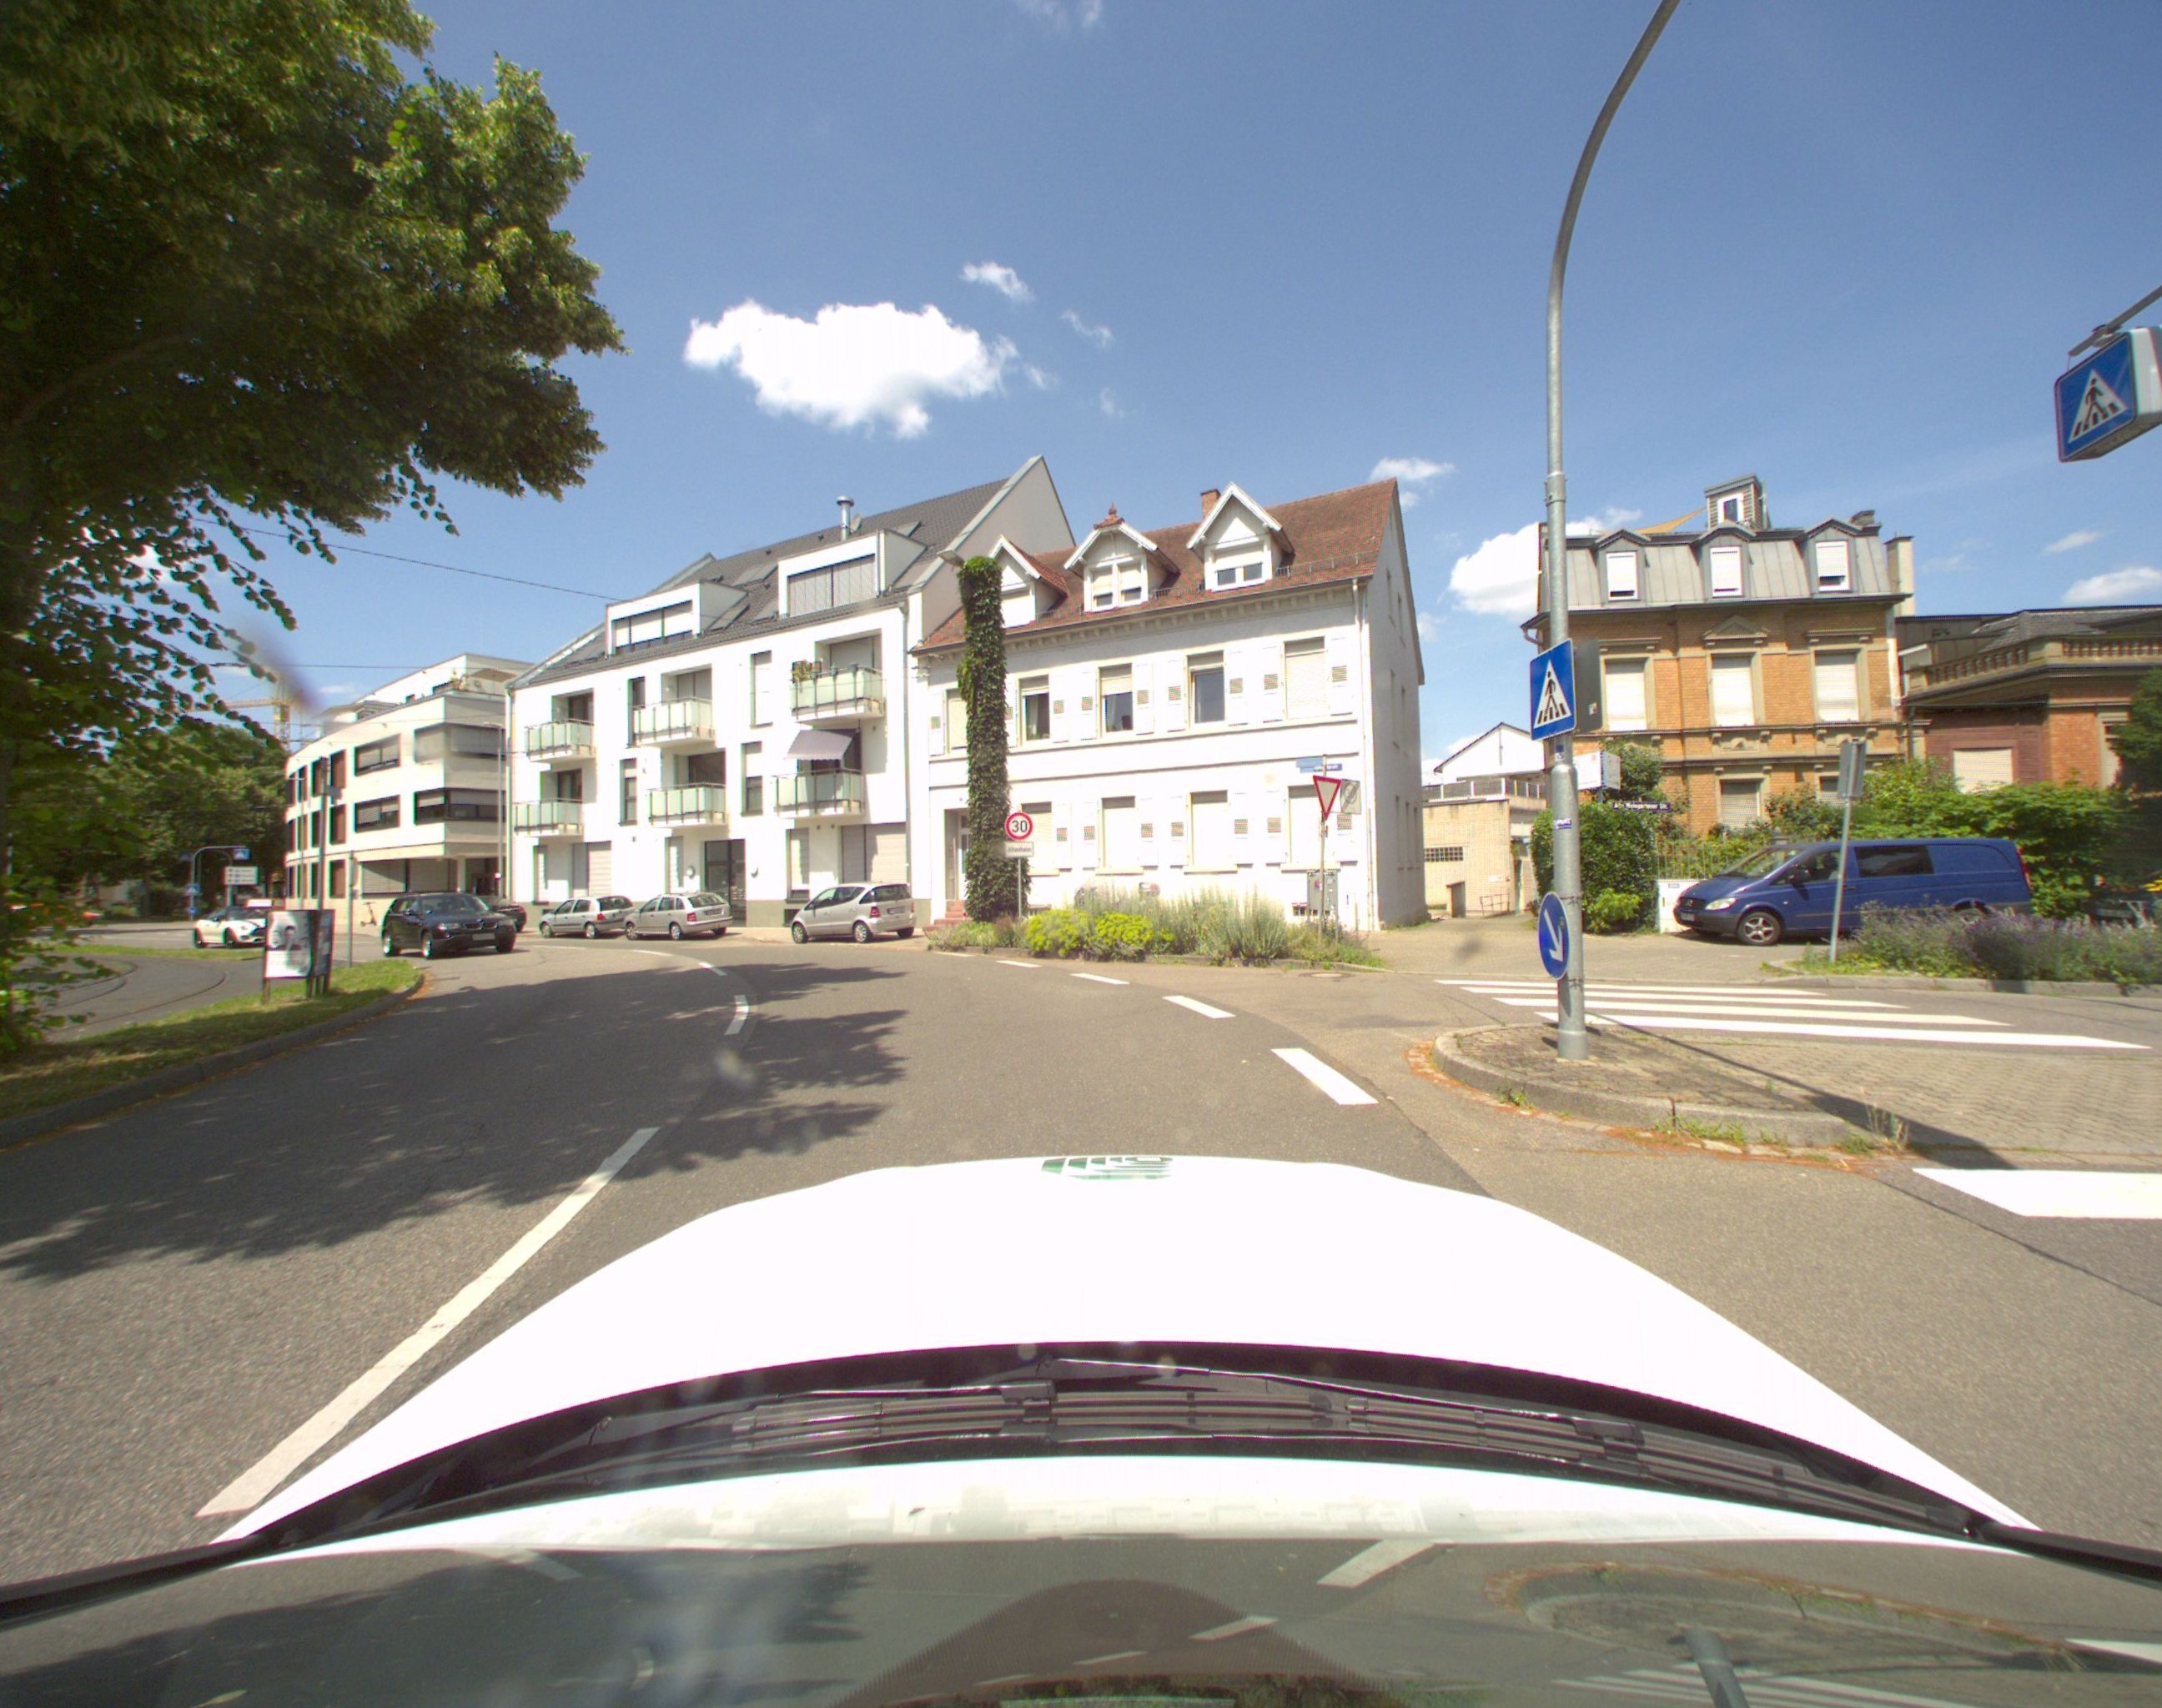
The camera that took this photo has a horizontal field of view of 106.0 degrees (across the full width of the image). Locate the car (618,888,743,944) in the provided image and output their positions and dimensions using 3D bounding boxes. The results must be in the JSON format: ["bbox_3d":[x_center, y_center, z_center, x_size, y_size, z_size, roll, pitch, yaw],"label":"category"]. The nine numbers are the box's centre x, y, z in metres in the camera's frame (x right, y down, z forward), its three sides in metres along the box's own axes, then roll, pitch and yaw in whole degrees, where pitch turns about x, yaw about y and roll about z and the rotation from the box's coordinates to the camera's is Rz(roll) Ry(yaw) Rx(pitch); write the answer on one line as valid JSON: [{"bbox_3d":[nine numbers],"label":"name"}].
[{"bbox_3d":[-12.768,1.912,25.909,3.858,1.465,1.672,-1,3,31],"label":"car"}]

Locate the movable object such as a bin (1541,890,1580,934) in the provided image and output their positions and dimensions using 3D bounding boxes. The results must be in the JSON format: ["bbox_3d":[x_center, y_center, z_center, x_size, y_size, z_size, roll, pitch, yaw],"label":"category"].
[{"bbox_3d":[10.126,1.222,17.204,0.420,0.916,0.556,2,-3,-21],"label":"movable object such as a bin"}]

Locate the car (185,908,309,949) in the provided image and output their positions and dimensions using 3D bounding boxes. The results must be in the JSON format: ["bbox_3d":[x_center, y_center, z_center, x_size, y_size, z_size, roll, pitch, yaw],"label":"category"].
[{"bbox_3d":[-29.168,2.561,28.474,3.950,1.244,1.796,-1,-3,25],"label":"car"}]

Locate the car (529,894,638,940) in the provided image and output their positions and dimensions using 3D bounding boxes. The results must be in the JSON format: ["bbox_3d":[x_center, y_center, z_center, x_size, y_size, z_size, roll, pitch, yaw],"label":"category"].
[{"bbox_3d":[-17.099,2.118,28.003,3.460,1.357,1.431,-1,3,25],"label":"car"}]

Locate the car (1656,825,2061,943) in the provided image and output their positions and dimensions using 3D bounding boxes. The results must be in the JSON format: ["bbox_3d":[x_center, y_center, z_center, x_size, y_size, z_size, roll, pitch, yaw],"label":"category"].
[{"bbox_3d":[14.325,0.565,15.417,5.190,1.947,2.090,-2,-1,12],"label":"car"}]

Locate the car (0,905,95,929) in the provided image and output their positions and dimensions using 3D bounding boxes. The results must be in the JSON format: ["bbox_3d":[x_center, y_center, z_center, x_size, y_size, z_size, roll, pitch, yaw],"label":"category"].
[{"bbox_3d":[-71.101,4.325,56.018,1.630,1.528,4.091,-2,-4,39],"label":"car"}]

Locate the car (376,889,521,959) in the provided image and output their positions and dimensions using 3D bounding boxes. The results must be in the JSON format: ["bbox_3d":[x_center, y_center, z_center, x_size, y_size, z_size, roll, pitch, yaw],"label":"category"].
[{"bbox_3d":[-16.469,1.781,21.133,4.339,1.552,1.906,-4,-2,37],"label":"car"}]

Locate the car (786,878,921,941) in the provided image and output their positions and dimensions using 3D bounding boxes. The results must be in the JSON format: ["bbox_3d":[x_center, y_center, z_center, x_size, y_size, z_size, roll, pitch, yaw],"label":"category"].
[{"bbox_3d":[-6.228,1.472,22.197,3.571,1.587,1.594,-1,-3,34],"label":"car"}]
